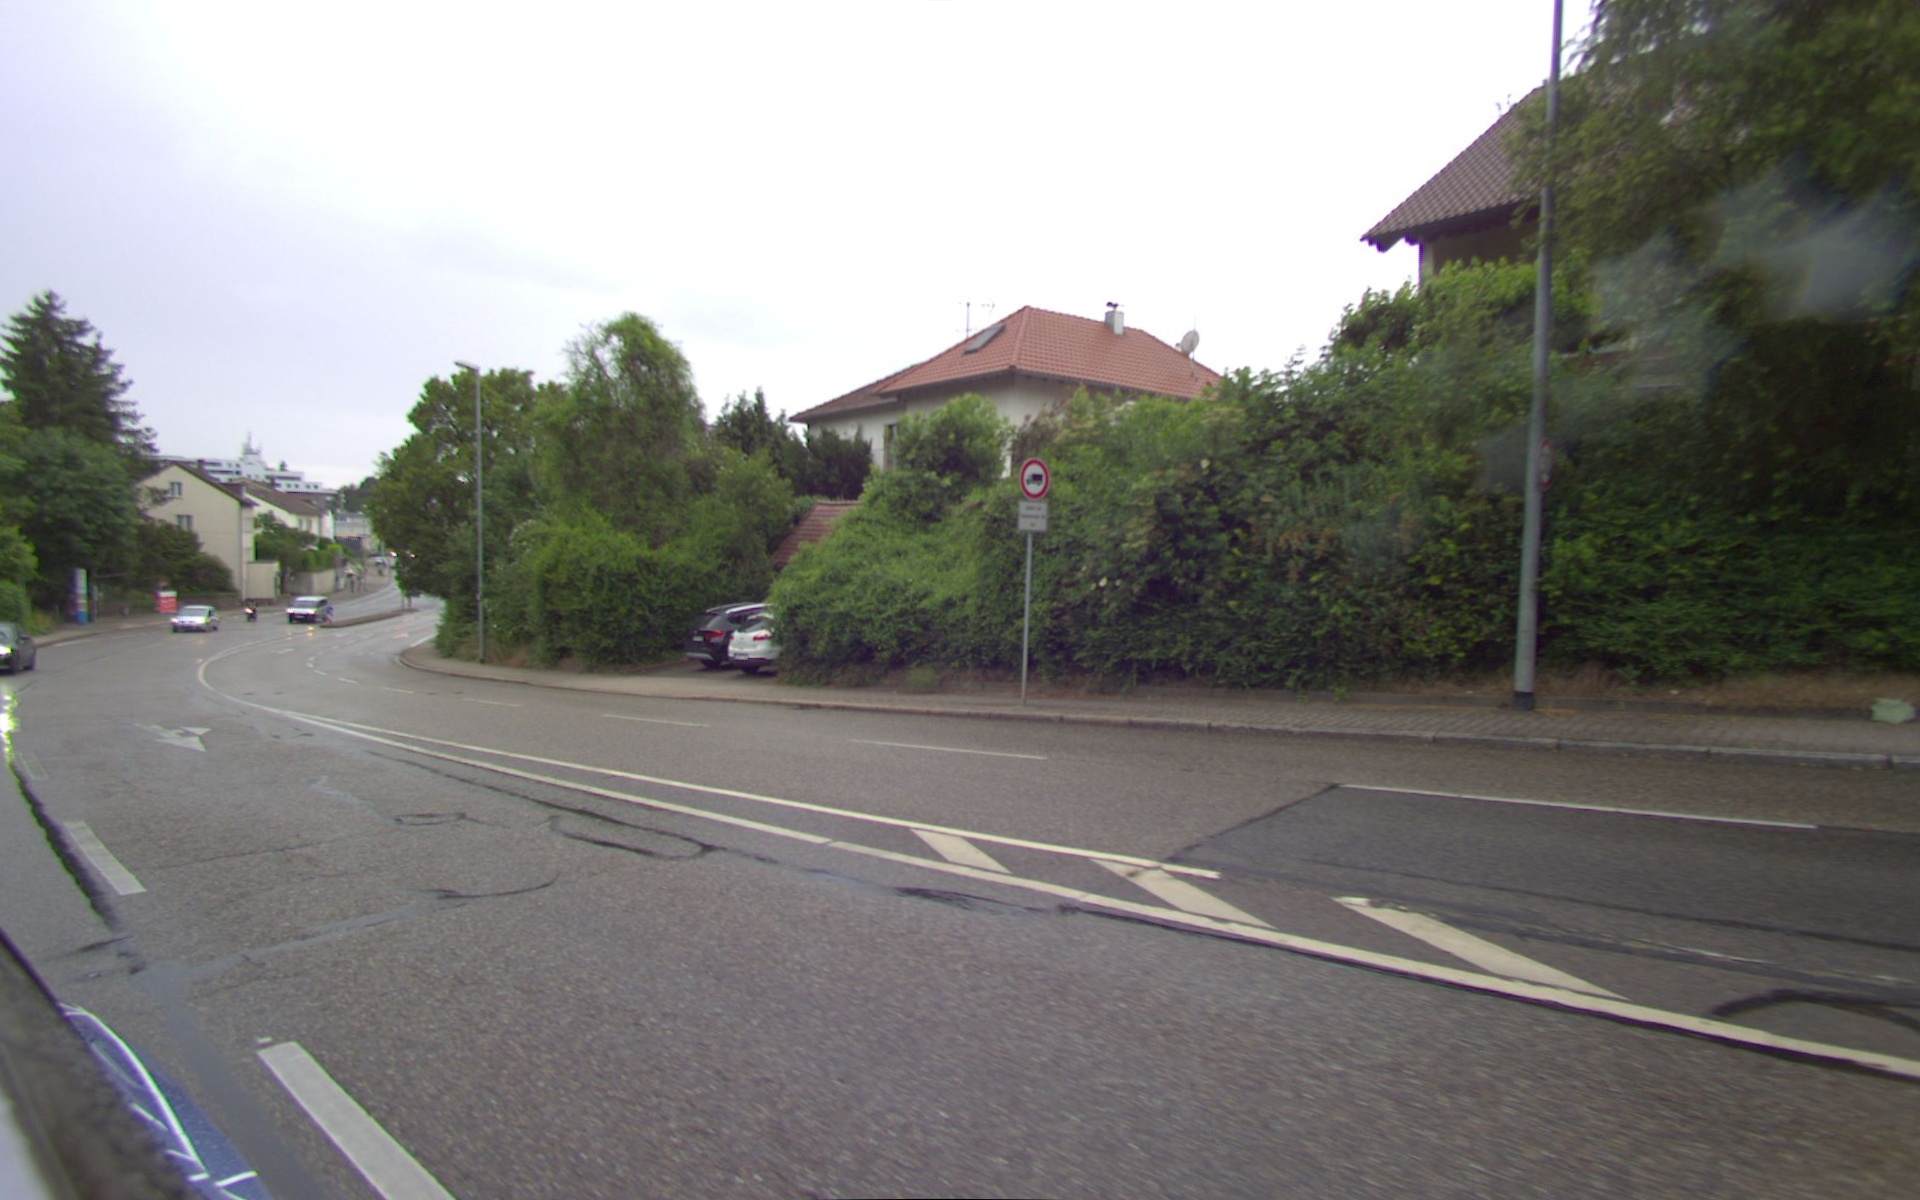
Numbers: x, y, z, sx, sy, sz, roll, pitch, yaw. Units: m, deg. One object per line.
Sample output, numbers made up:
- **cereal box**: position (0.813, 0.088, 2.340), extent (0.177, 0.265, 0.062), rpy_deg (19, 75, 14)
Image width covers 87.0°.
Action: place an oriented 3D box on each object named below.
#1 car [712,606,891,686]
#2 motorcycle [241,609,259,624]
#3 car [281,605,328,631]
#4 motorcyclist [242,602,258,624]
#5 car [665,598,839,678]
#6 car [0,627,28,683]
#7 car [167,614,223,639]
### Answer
- **car**: position (-3.742, 1.039, 24.300), extent (3.857, 1.451, 1.812), rpy_deg (-7, 3, -44)
- **motorcycle**: position (-51.890, 1.216, 73.986), extent (0.681, 1.061, 1.753), rpy_deg (2, -1, -22)
- **car**: position (-48.736, 1.367, 75.314), extent (1.749, 1.788, 4.011), rpy_deg (2, -2, -15)
- **motorcyclist**: position (-51.849, 0.949, 73.927), extent (0.754, 1.655, 0.676), rpy_deg (1, -1, -22)
- **car**: position (-5.409, 0.965, 26.620), extent (2.001, 1.547, 3.944), rpy_deg (-4, 3, 45)
- **car**: position (-28.389, 1.580, 29.440), extent (1.846, 1.517, 4.201), rpy_deg (0, -1, -43)
- **car**: position (-46.782, 1.649, 61.966), extent (1.787, 1.450, 4.013), rpy_deg (2, -2, -24)
